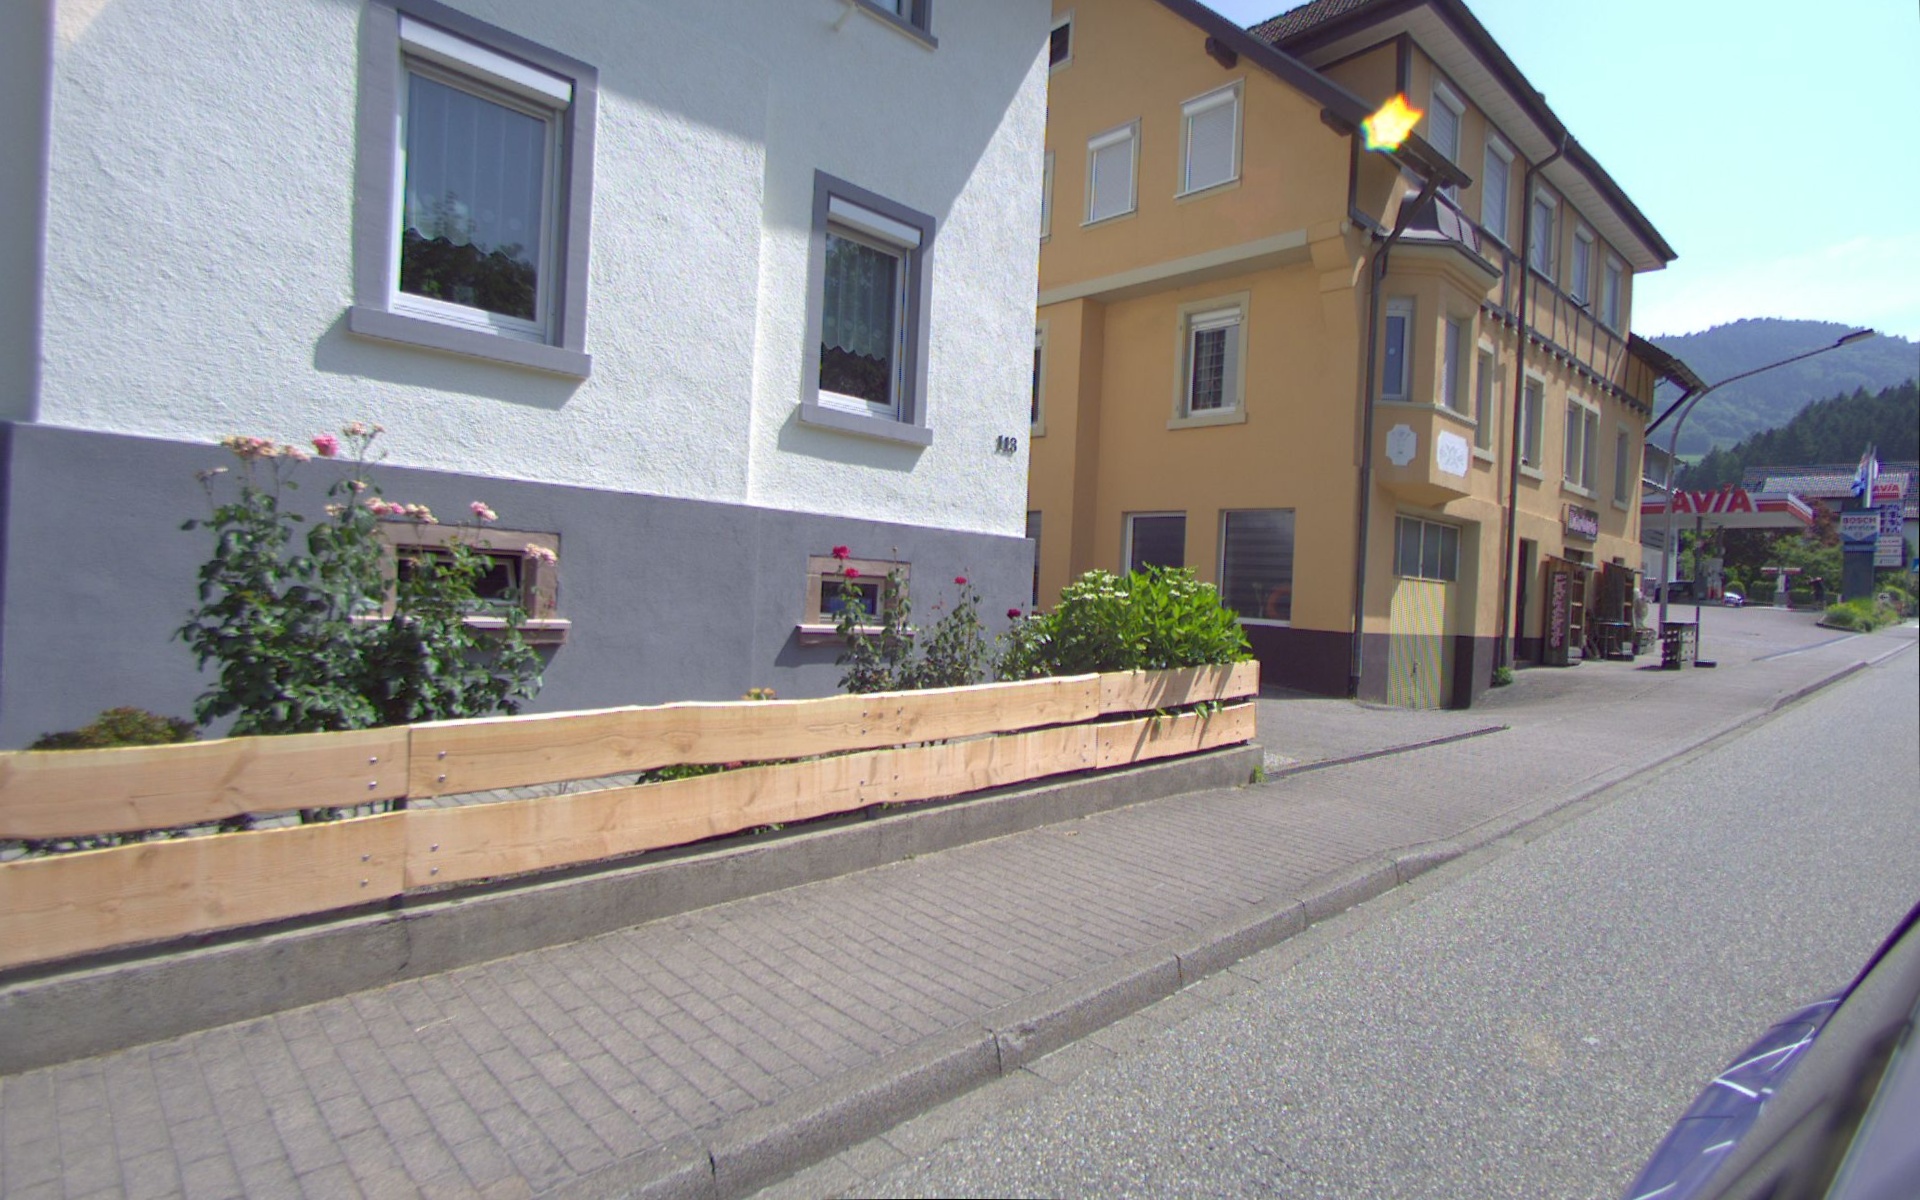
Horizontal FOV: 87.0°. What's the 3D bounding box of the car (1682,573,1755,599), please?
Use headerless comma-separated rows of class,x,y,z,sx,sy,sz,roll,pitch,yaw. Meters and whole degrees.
car,43.273,-0.793,57.774,1.313,1.157,3.079,-1,7,-43

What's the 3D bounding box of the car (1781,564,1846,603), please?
car,39.782,-0.779,47.152,3.844,1.595,1.696,-1,7,-42

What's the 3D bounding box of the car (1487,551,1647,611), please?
car,20.332,-0.689,33.984,4.313,1.562,1.775,8,7,38
